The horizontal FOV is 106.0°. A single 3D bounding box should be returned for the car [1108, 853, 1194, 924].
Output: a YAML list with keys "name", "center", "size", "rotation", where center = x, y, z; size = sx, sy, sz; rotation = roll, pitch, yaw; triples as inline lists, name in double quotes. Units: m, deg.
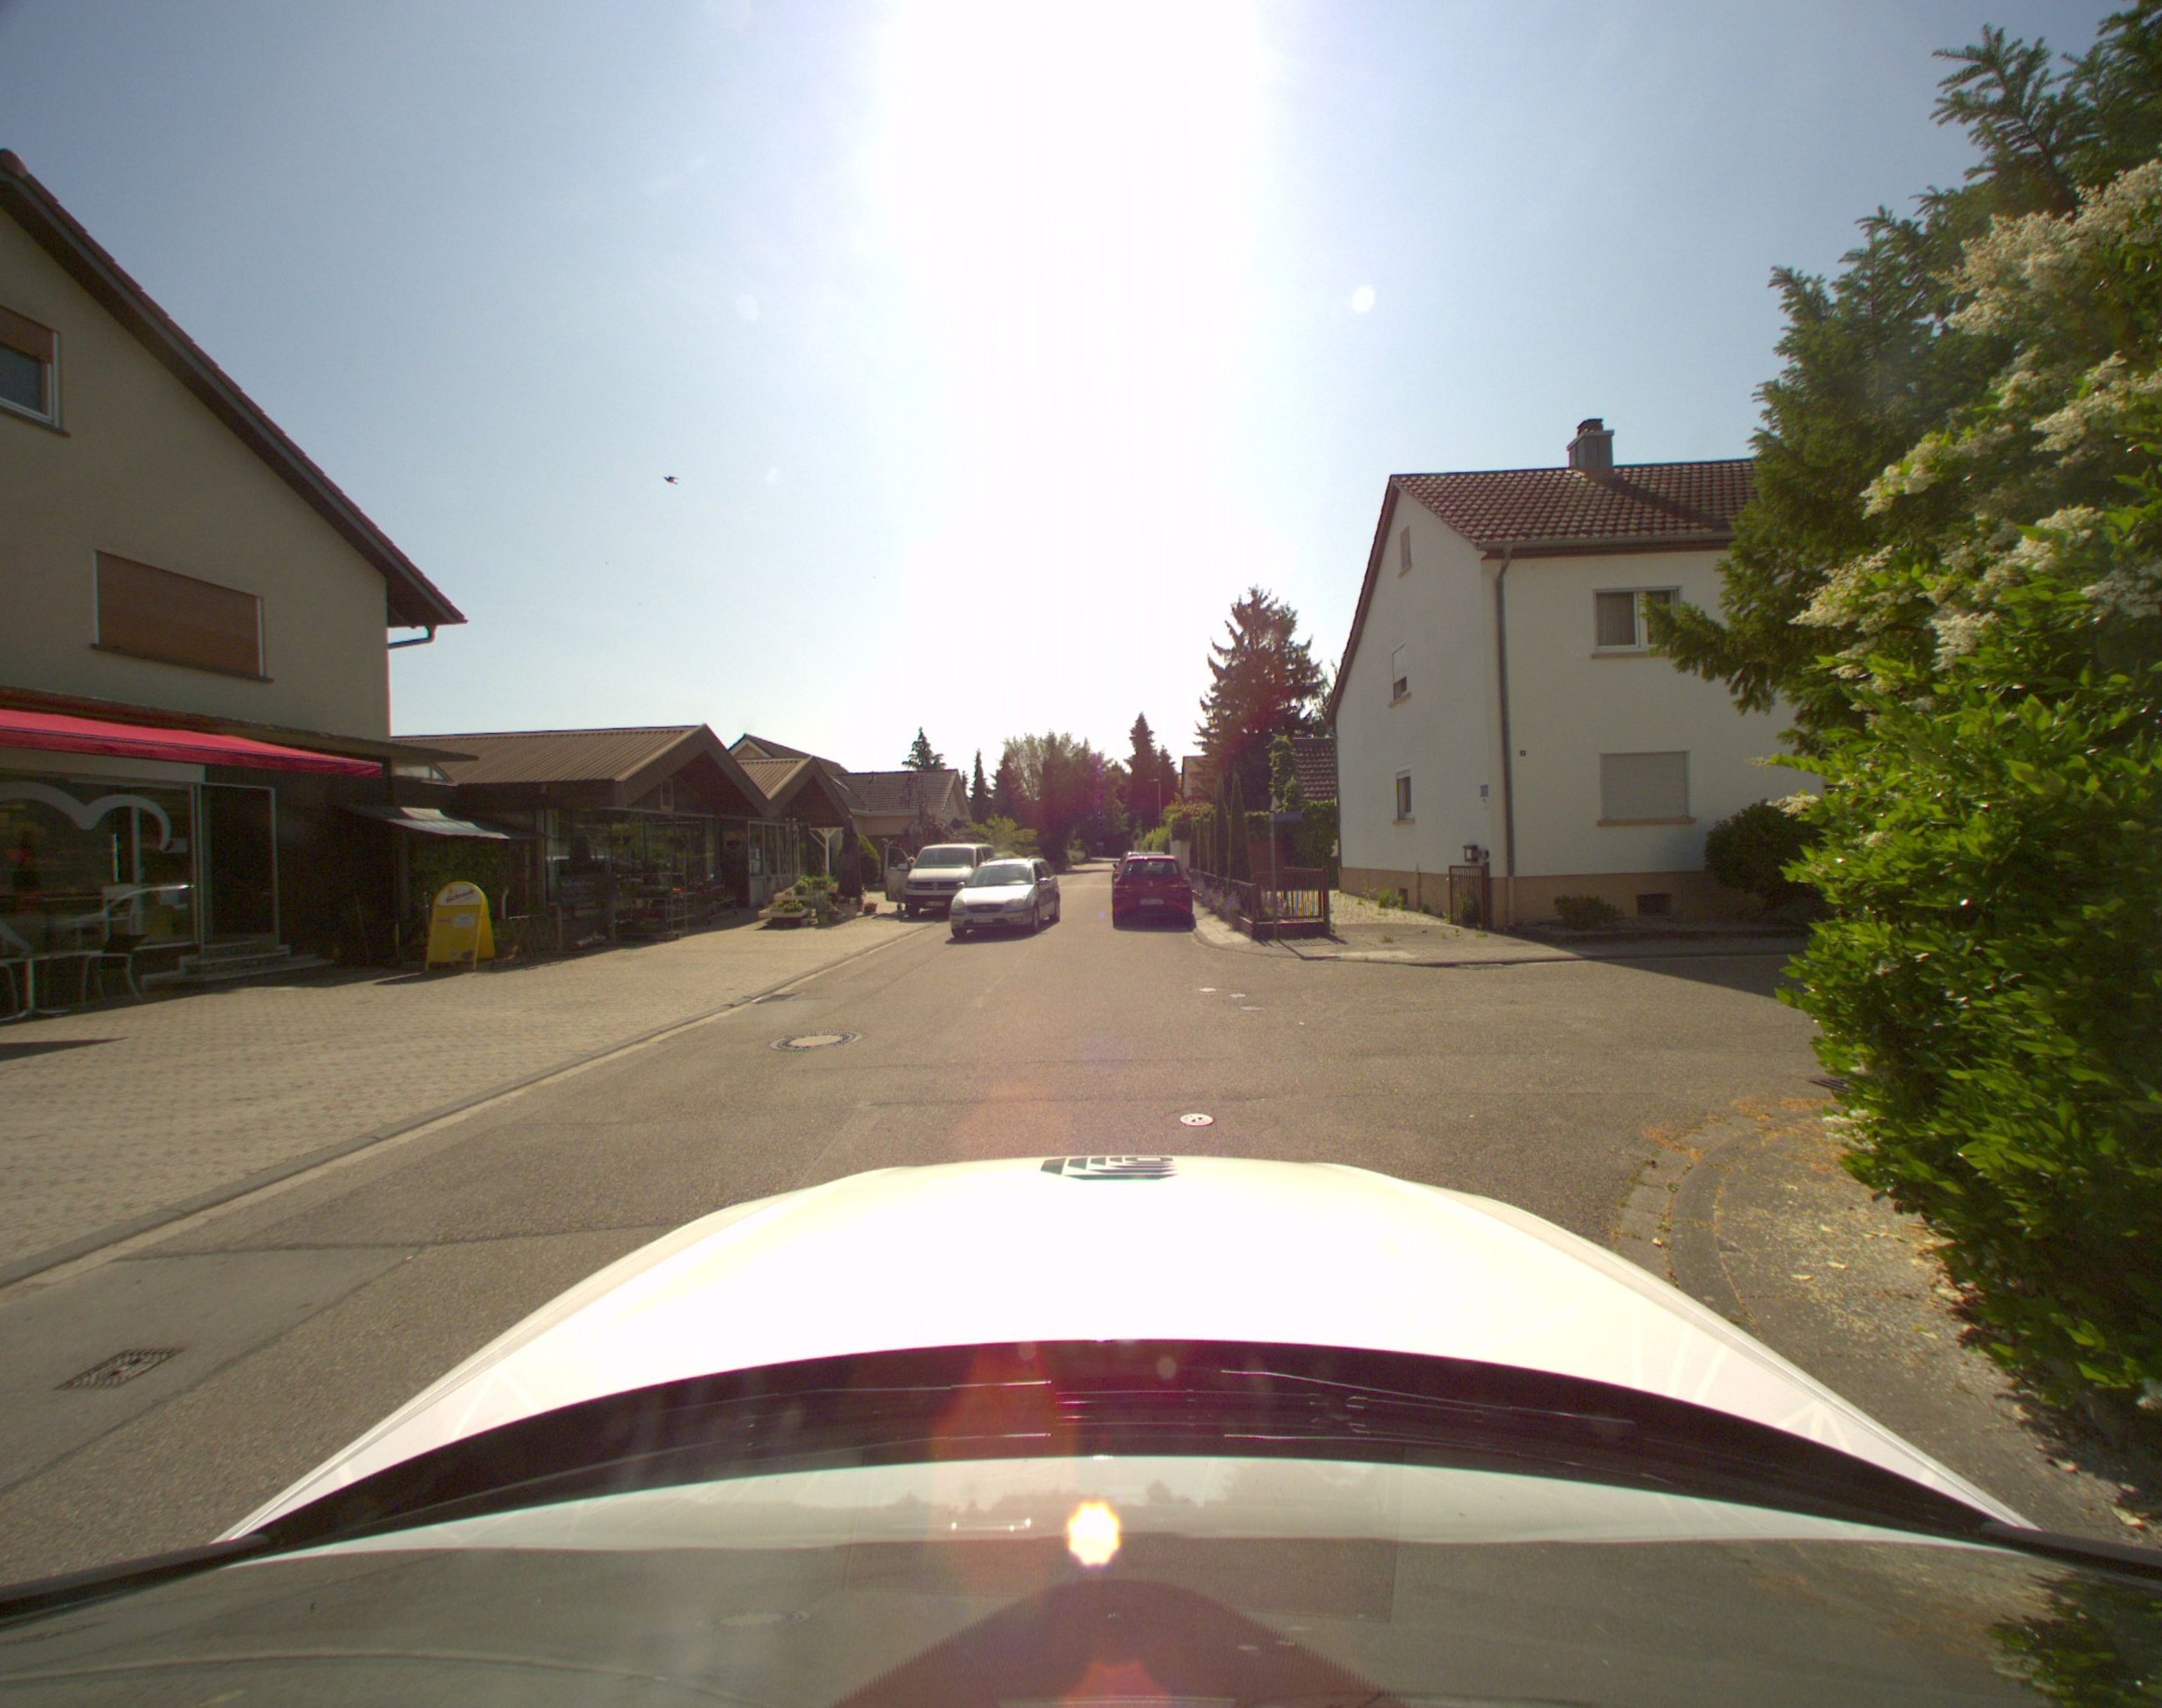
- name: "car"
  center: [1.671, 0.716, 18.957]
  size: [1.766, 1.479, 4.007]
  rotation: [0, 0, 6]

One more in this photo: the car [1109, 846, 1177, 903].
- name: "car"
  center: [1.872, 0.596, 25.713]
  size: [1.816, 1.615, 4.000]
  rotation: [-1, 0, 0]

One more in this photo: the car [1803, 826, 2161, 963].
- name: "car"
  center: [12.001, 0.452, 10.369]
  size: [3.971, 1.530, 1.798]
  rotation: [-2, 0, 1]

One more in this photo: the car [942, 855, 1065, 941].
- name: "car"
  center: [-1.503, 0.836, 17.500]
  size: [1.744, 1.487, 4.382]
  rotation: [-3, 0, 5]

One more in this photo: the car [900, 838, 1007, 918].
- name: "car"
  center: [-3.515, 0.613, 23.460]
  size: [1.920, 2.013, 4.902]
  rotation: [-2, 0, 4]

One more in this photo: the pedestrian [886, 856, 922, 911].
- name: "pedestrian"
  center: [-5.075, 0.825, 23.351]
  size: [0.710, 1.538, 0.646]
  rotation: [-1, 0, 36]

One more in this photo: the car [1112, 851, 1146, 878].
- name: "car"
  center: [2.595, 0.537, 44.323]
  size: [1.696, 1.399, 4.001]
  rotation: [-1, 0, 1]
